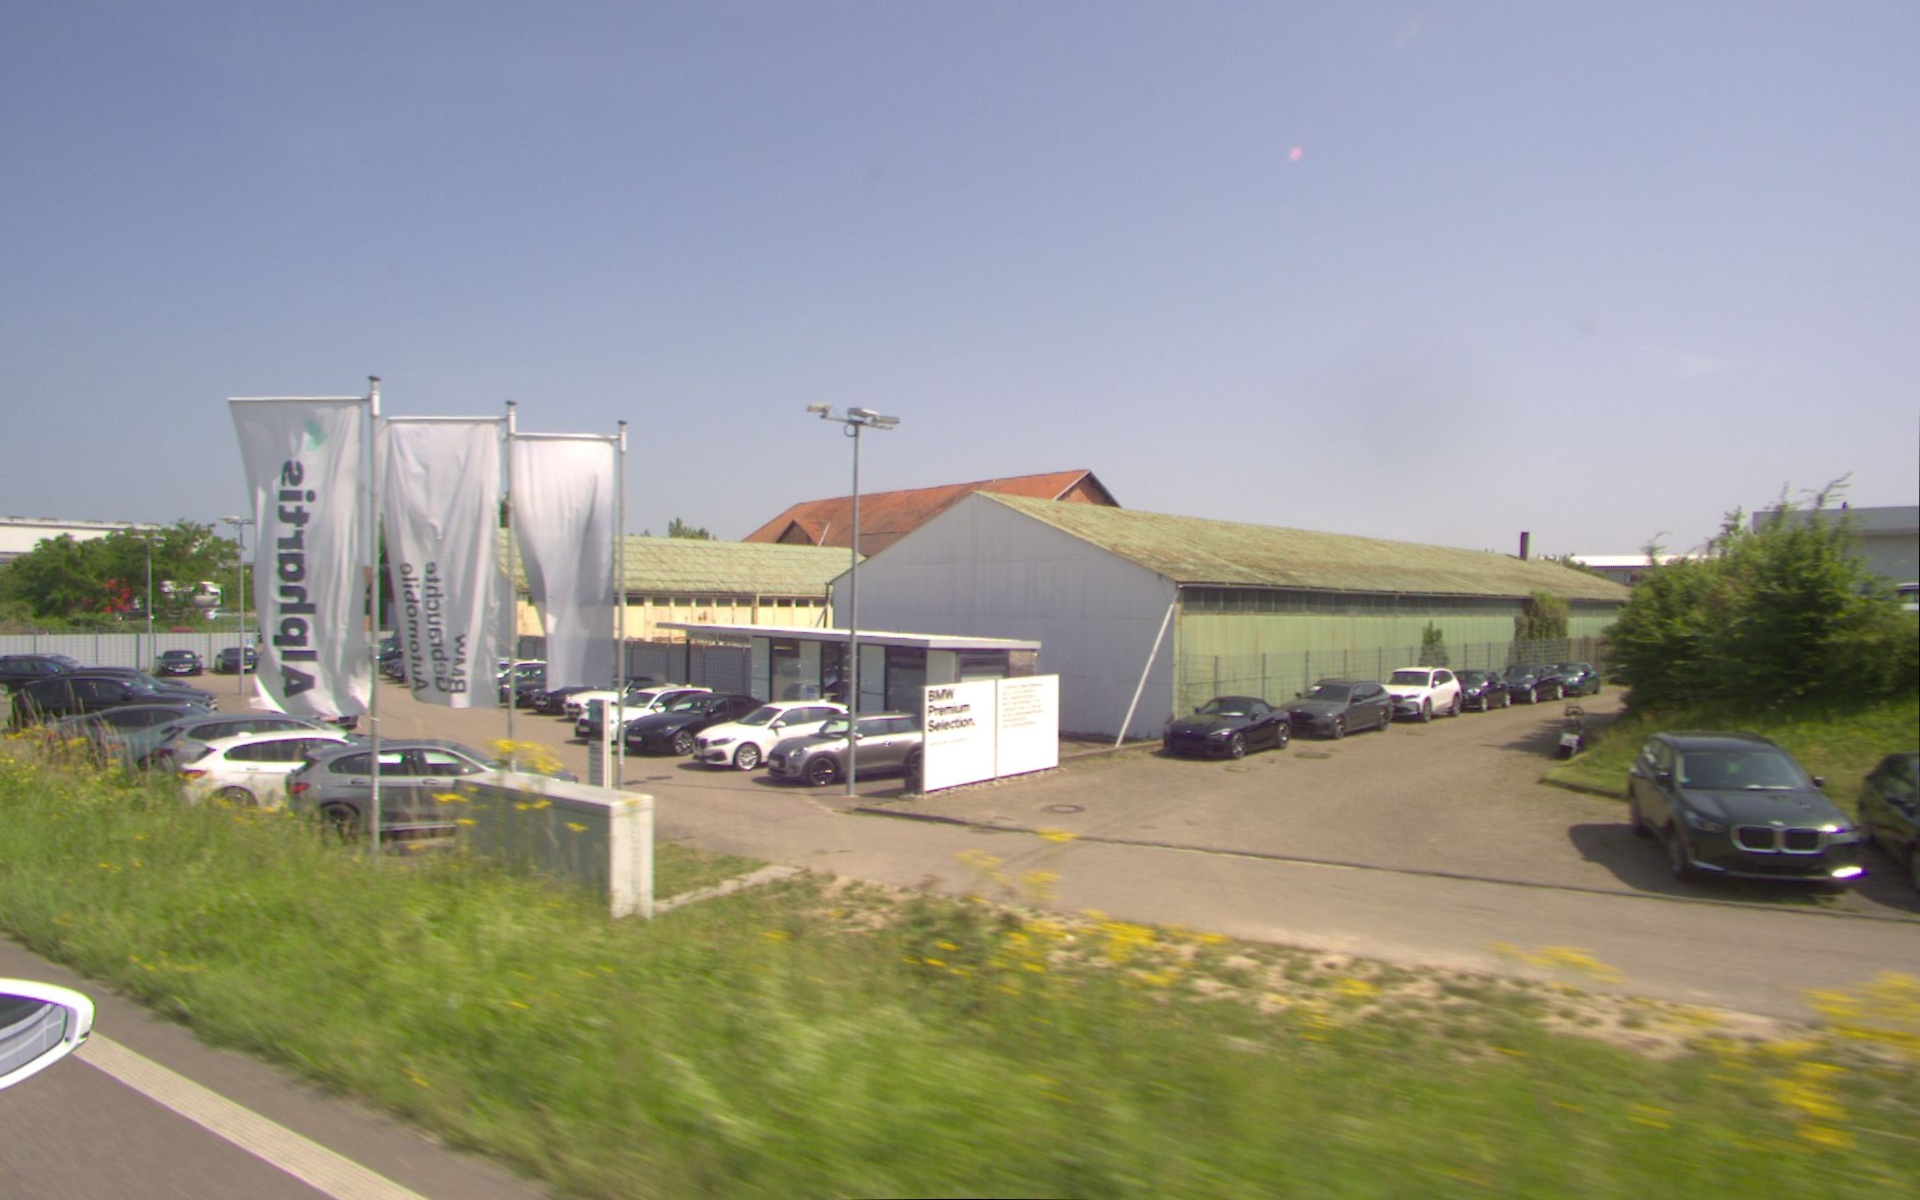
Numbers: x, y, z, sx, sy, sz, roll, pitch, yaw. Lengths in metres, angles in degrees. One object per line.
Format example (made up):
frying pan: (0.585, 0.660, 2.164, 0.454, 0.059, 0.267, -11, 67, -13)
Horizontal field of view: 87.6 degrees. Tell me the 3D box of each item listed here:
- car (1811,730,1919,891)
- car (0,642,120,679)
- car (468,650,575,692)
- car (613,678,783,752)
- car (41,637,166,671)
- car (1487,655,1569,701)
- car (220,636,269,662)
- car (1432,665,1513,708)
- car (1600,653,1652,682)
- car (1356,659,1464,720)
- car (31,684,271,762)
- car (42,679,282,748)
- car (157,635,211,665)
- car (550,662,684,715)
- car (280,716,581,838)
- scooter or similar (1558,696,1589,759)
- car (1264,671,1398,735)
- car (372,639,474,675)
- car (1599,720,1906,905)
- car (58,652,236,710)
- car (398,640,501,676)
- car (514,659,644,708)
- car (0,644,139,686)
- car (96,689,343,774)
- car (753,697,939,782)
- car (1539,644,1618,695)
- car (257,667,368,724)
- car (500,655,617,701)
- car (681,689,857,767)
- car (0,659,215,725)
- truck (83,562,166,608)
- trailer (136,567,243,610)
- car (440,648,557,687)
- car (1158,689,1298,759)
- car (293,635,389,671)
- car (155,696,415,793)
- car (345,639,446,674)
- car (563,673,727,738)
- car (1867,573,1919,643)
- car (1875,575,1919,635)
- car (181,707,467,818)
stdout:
car: (12.719, 2.649, 12.519, 1.967, 1.572, 3.989, -2, -1, 22)
car: (-42.069, 2.786, 46.348, 4.573, 1.518, 1.848, 2, 1, -27)
car: (-18.411, 2.939, 42.207, 1.730, 1.543, 3.996, 0, -1, 26)
car: (-7.067, 3.068, 27.422, 1.904, 1.543, 4.417, 0, -1, 32)
car: (-42.353, 2.655, 49.625, 4.295, 1.522, 1.840, 1, 0, -15)
car: (22.425, 3.018, 39.491, 4.139, 1.661, 1.721, 2, -2, -44)
car: (-40.669, 2.761, 56.983, 1.973, 1.416, 3.977, 2, -2, -32)
car: (18.582, 3.100, 36.217, 1.575, 1.370, 3.665, -1, -2, 45)
car: (34.537, 3.478, 51.883, 1.575, 1.370, 3.665, -1, -2, 45)
car: (14.744, 2.853, 32.684, 1.902, 1.752, 4.279, -1, -2, 44)
car: (-18.869, 2.833, 23.627, 4.112, 1.542, 1.848, 2, -2, -29)
car: (-20.653, 2.894, 26.188, 4.573, 1.542, 1.849, 2, -2, -27)
car: (-42.422, 2.717, 54.837, 1.831, 1.554, 4.617, 2, -2, -32)
car: (-12.257, 3.134, 36.148, 1.901, 1.543, 4.603, 0, -1, 26)
car: (-8.434, 2.787, 16.310, 4.107, 1.542, 1.684, 1, -2, -25)
scooter or similar: (14.831, 3.057, 24.232, 0.613, 1.331, 1.973, 0, -2, 30)
car: (10.558, 2.840, 28.360, 1.962, 1.490, 4.419, -1, -2, 44)
car: (-26.916, 2.832, 50.361, 1.878, 1.596, 4.329, 2, 0, 21)
car: (10.546, 2.697, 13.810, 2.112, 1.661, 4.485, -2, -2, 22)
car: (-26.859, 2.660, 33.257, 4.165, 1.723, 1.913, 2, 1, -21)
car: (-24.920, 2.814, 49.066, 1.878, 1.543, 4.329, 2, 0, 21)
car: (-14.437, 3.120, 38.248, 1.901, 1.543, 4.603, 0, -1, 26)
car: (-37.771, 2.714, 42.243, 4.577, 1.625, 1.847, 2, -1, -30)
car: (-16.045, 2.817, 21.997, 4.112, 1.542, 1.848, 2, -2, -29)
car: (-2.524, 3.040, 22.323, 3.751, 1.542, 1.742, 2, -2, -31)
car: (26.647, 2.953, 43.115, 3.961, 2.039, 1.981, 2, -2, -44)
car: (-20.738, 2.987, 31.992, 2.122, 1.476, 4.487, 2, -2, -44)
car: (-16.034, 3.086, 40.228, 1.768, 1.543, 4.313, 0, -1, 26)
car: (-4.652, 3.081, 24.678, 3.924, 1.543, 1.738, 1, -1, -38)
car: (-25.370, 2.691, 29.987, 4.570, 1.723, 1.849, 2, 1, -25)
truck: (-80.468, -1.383, 96.613, 2.836, 4.082, 6.721, 1, -2, -7)
trailer: (-79.530, -1.095, 103.592, 2.836, 4.082, 8.687, 0, -2, 17)
car: (-20.575, 2.975, 44.896, 1.881, 1.543, 4.645, 0, -1, 26)
car: (6.742, 3.024, 24.955, 1.701, 1.393, 3.916, -1, -2, 44)
car: (-34.861, 2.960, 56.516, 1.964, 1.828, 4.329, 2, 0, 21)
car: (-13.250, 2.801, 19.989, 4.113, 1.542, 1.847, 2, -2, -30)
car: (-28.893, 2.849, 51.388, 1.878, 1.596, 4.329, 2, 0, 21)
car: (-9.287, 3.063, 29.858, 1.907, 1.543, 4.410, 0, -1, 37)
car: (23.835, 0.189, 23.013, 1.903, 1.617, 4.264, 0, 0, -42)
car: (27.389, 0.154, 26.708, 1.903, 1.617, 4.264, 0, 0, -42)
car: (-11.151, 2.806, 17.907, 4.112, 1.542, 1.743, 2, -2, -29)
